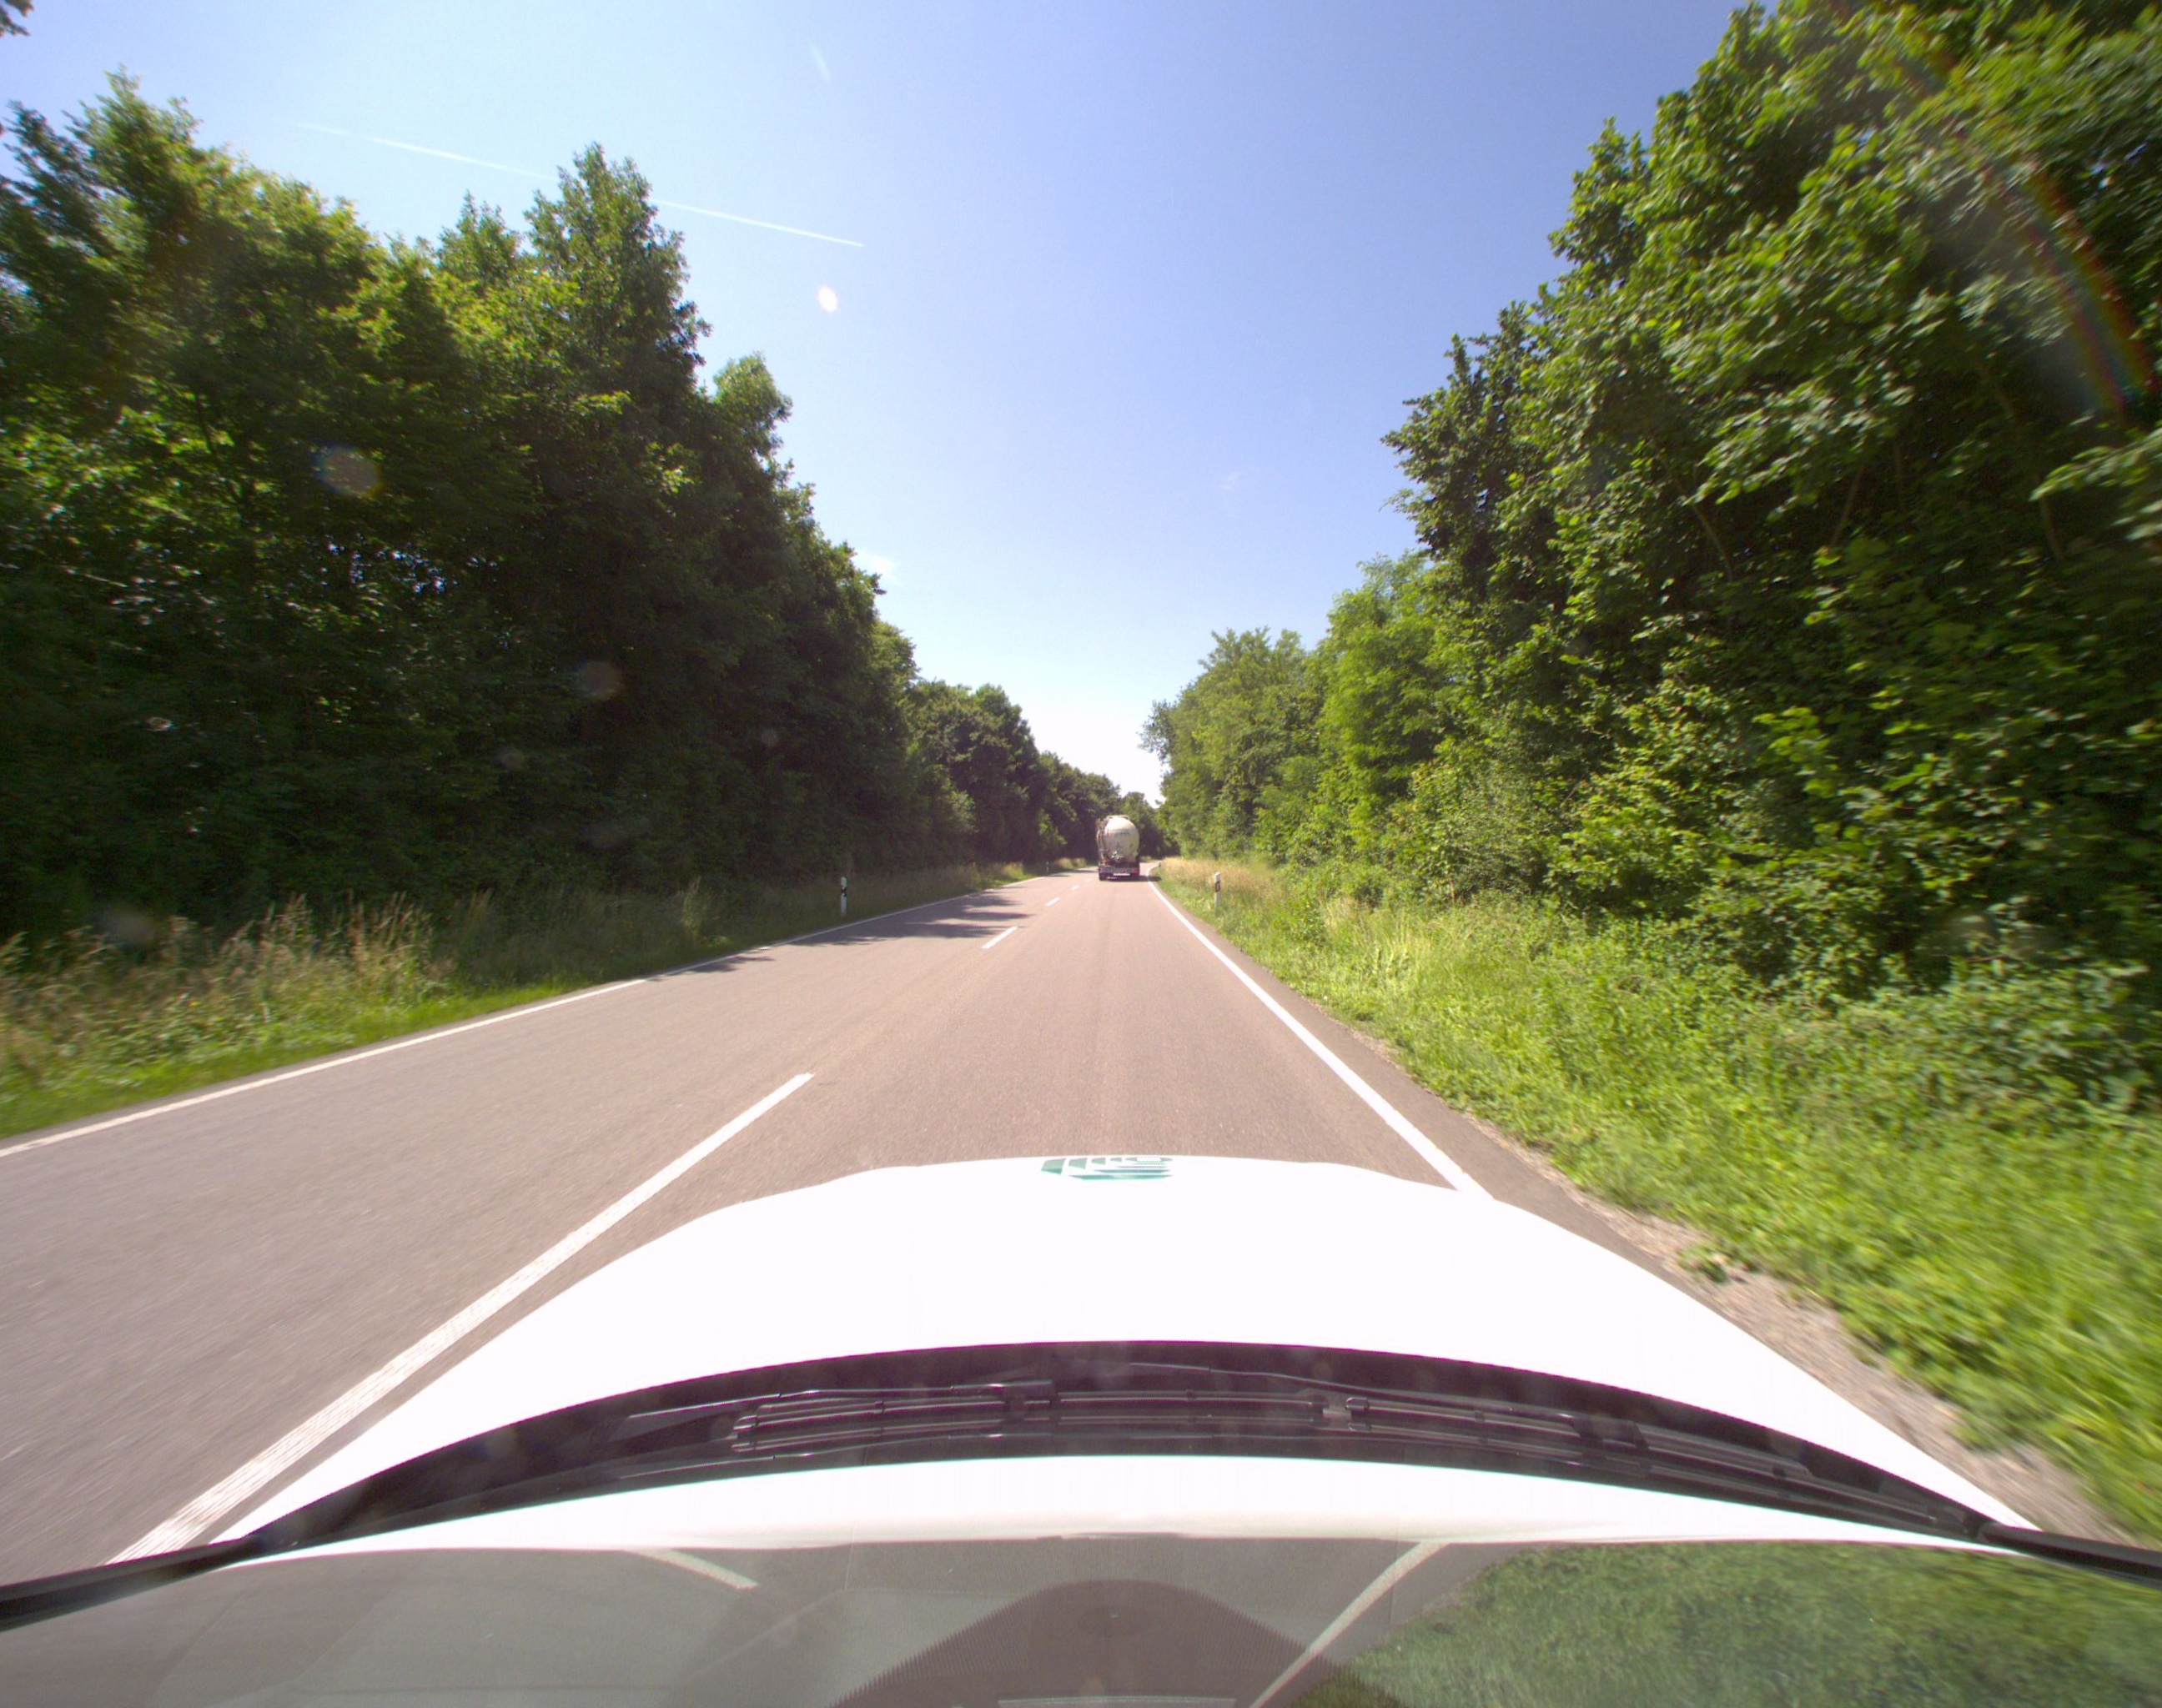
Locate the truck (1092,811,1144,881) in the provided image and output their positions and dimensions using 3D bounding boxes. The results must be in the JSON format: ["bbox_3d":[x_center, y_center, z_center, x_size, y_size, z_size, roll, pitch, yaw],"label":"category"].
[{"bbox_3d":[2.416,-0.468,55.220,3.038,3.998,15.643,0,0,2],"label":"truck"}]
